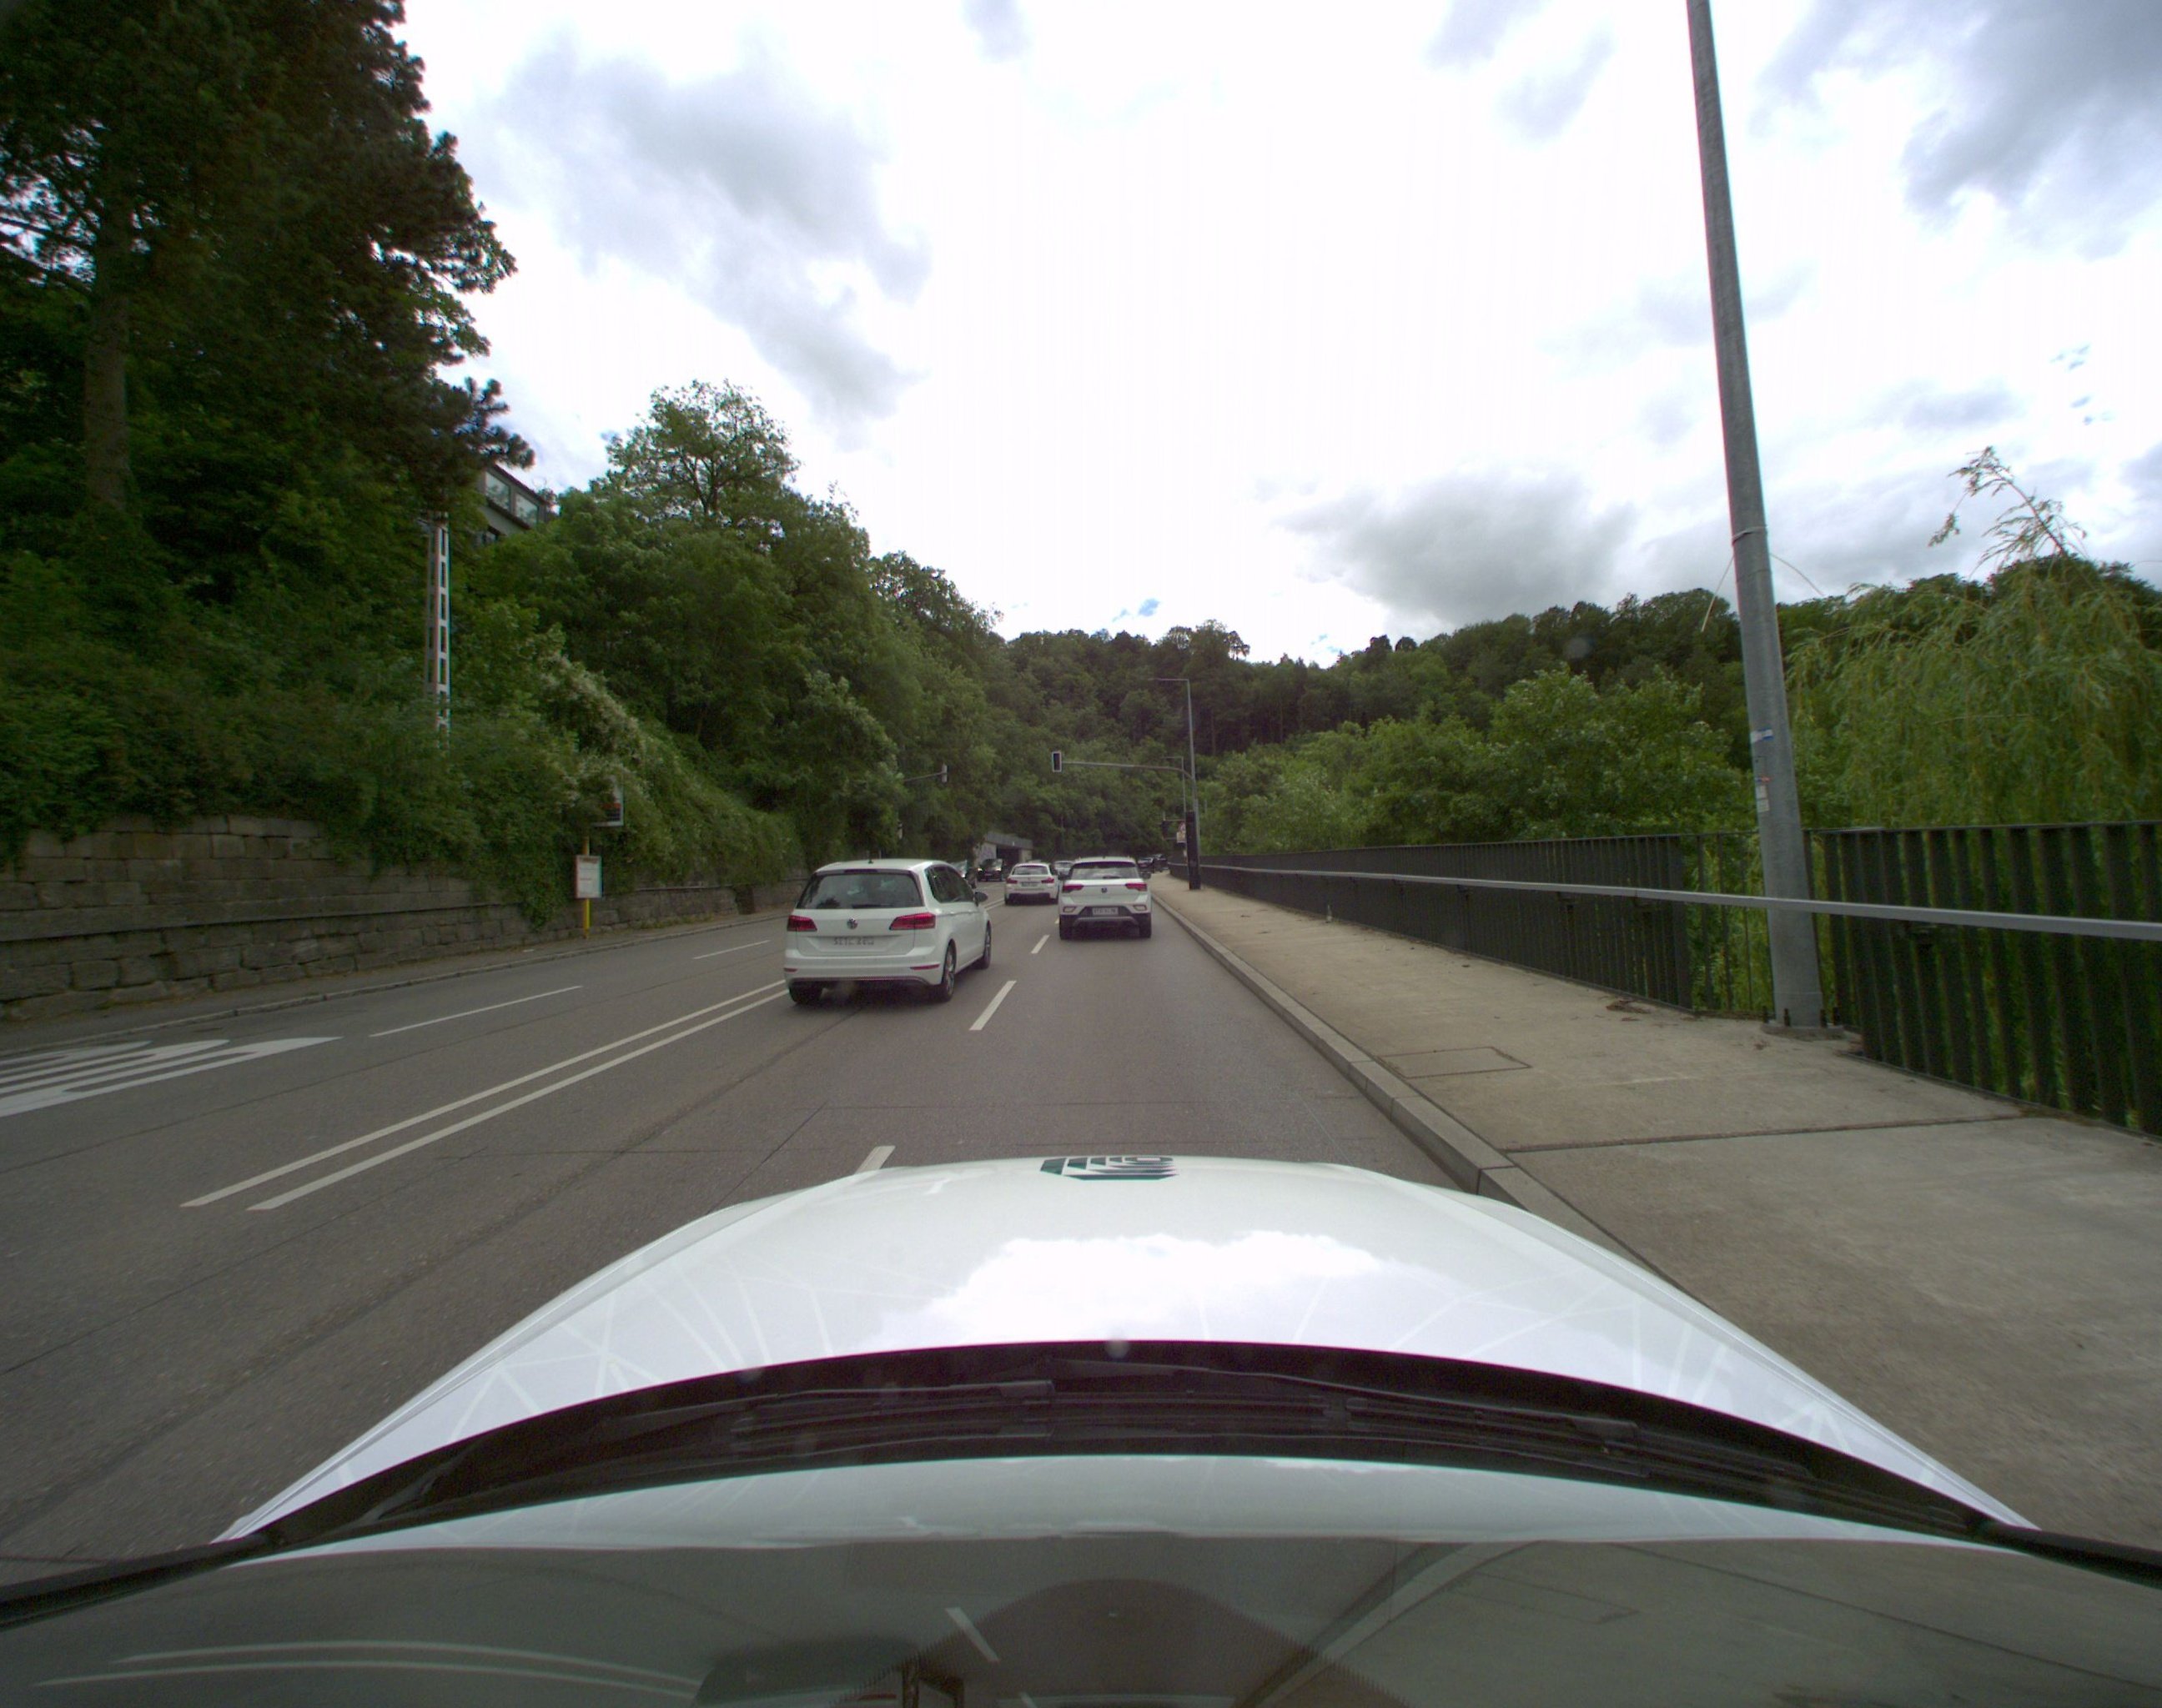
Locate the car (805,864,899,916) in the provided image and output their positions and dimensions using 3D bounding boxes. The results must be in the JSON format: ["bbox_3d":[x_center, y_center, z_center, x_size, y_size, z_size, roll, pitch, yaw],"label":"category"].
[{"bbox_3d":[-7.381,1.119,26.684,1.669,1.442,4.237,0,1,3],"label":"car"}]

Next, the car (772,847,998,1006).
[{"bbox_3d":[-2.190,0.745,10.320,1.714,1.554,4.276,-1,-1,1],"label":"car"}]

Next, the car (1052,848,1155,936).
[{"bbox_3d":[0.484,0.737,16.793,1.807,1.539,4.010,-2,-2,2],"label":"car"}]

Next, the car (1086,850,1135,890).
[{"bbox_3d":[1.461,0.754,39.157,1.983,1.843,4.158,0,-1,7],"label":"car"}]

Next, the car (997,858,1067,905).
[{"bbox_3d":[-1.682,0.935,29.473,1.985,1.557,4.684,-1,0,3],"label":"car"}]

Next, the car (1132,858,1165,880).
[{"bbox_3d":[6.340,1.404,75.902,1.976,2.014,4.021,0,-1,22],"label":"car"}]

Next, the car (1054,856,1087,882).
[{"bbox_3d":[-0.603,0.928,51.666,1.855,1.595,4.002,0,-1,2],"label":"car"}]

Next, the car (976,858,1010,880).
[{"bbox_3d":[-6.149,1.058,57.385,1.774,1.482,4.213,0,0,2],"label":"car"}]

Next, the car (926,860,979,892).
[{"bbox_3d":[-6.809,1.152,43.592,1.934,1.549,4.250,-2,-1,2],"label":"car"}]
